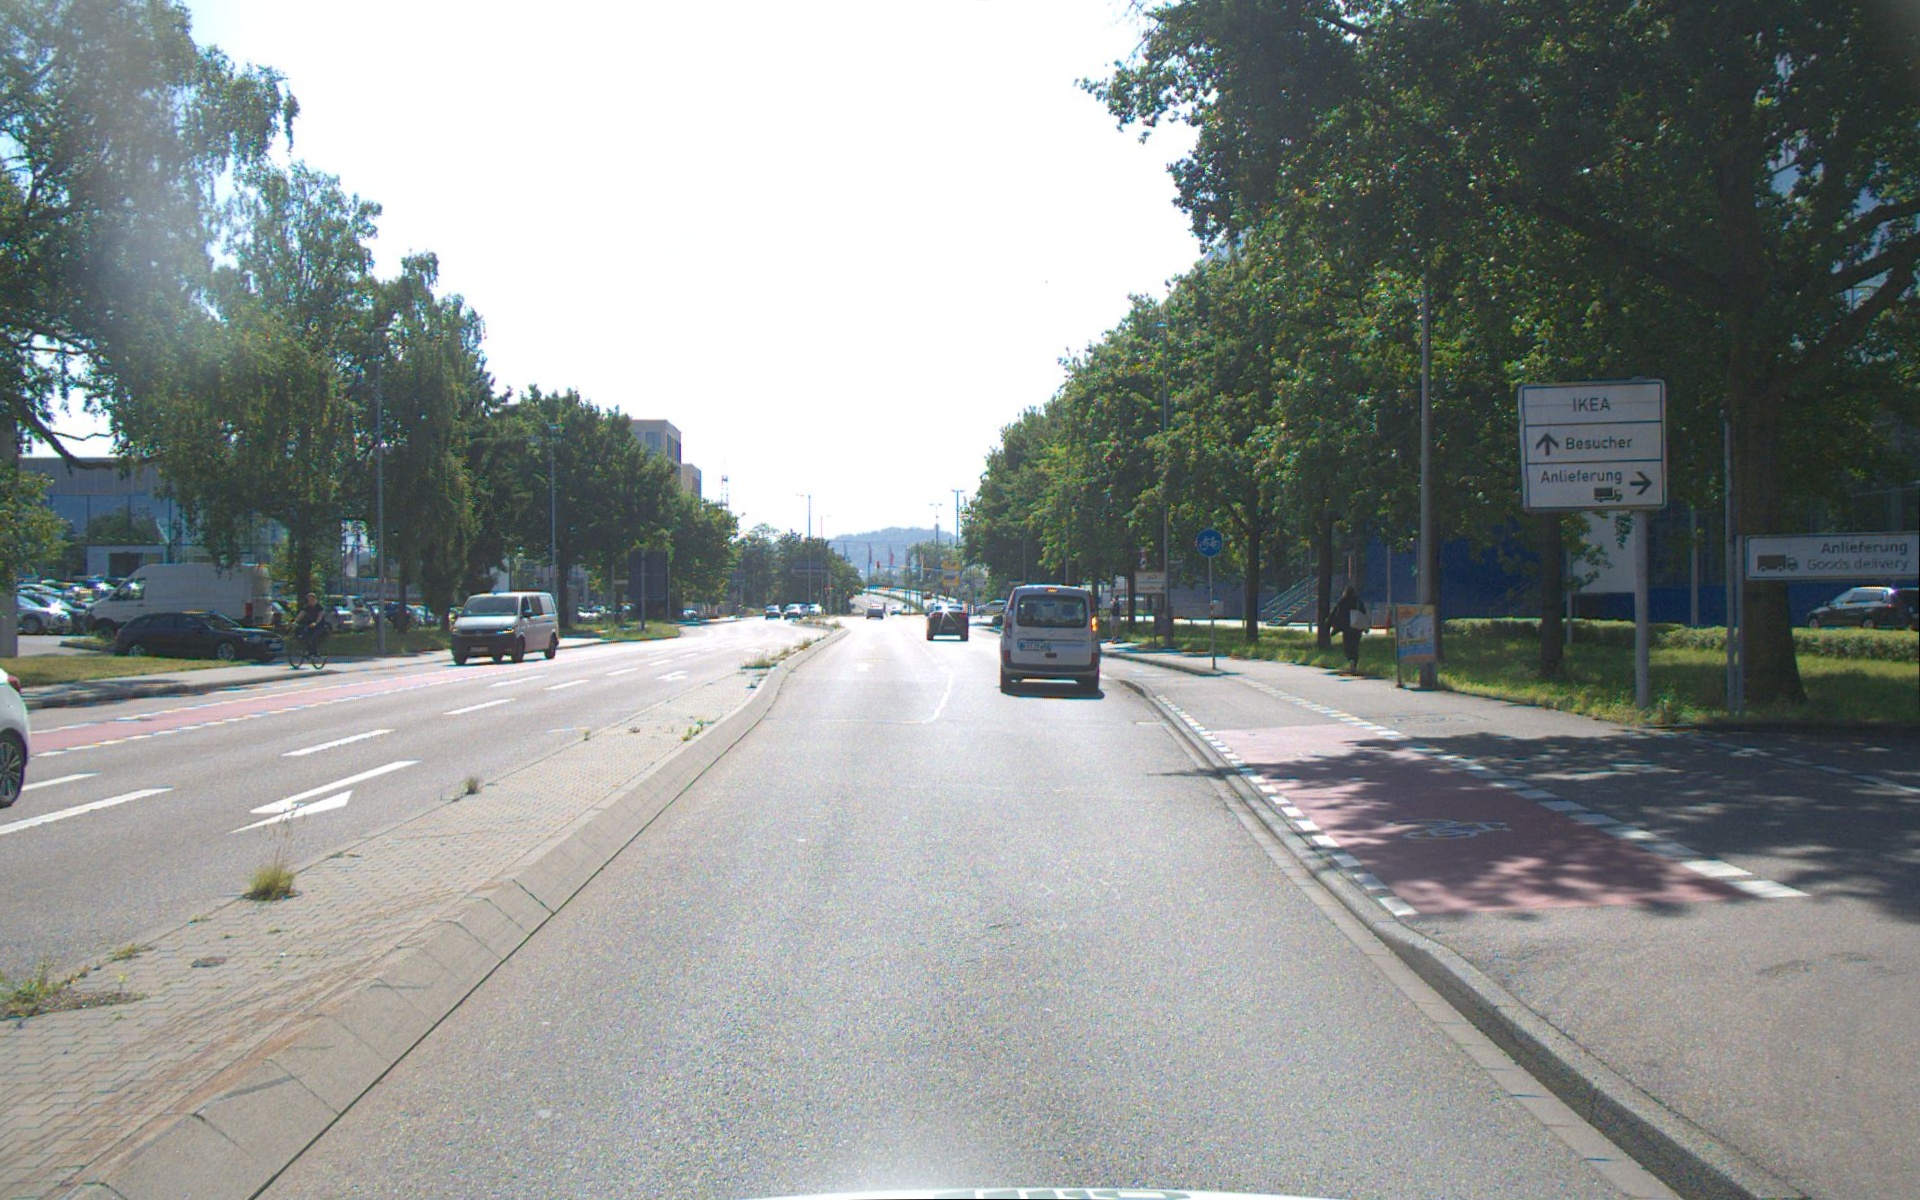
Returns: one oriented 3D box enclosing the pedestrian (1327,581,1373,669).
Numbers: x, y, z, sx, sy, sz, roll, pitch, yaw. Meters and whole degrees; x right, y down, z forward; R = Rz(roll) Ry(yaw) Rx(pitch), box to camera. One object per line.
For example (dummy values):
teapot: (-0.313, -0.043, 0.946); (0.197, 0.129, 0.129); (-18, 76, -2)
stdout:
pedestrian: (7.380, 0.466, 31.318); (0.634, 1.631, 0.846); (0, -1, -1)

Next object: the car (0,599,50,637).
car: (-36.170, 0.674, 61.225); (4.001, 1.378, 1.744); (-1, 0, 3)

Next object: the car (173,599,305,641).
car: (-26.004, 0.724, 59.699); (4.001, 1.464, 1.744); (0, 0, 3)

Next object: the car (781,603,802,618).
car: (-17.761, 1.108, 174.379); (1.804, 1.489, 4.997); (-3, 0, -2)

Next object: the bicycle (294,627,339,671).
bicycle: (-16.127, 1.215, 41.461); (0.436, 1.045, 1.616); (-1, 0, 2)

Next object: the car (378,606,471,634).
car: (-27.771, 1.025, 85.920); (4.179, 1.374, 1.954); (0, 0, 0)

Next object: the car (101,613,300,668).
car: (-20.855, 1.103, 45.526); (4.567, 1.438, 2.001); (-1, 0, 5)

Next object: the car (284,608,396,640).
car: (-27.203, 1.062, 72.703); (4.179, 1.351, 1.954); (0, 0, 0)

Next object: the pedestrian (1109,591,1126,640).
pedestrian: (6.082, 0.591, 63.832); (0.524, 1.874, 0.727); (0, -1, -2)

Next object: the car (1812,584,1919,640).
car: (26.728, 0.348, 47.817); (1.867, 1.547, 4.373); (0, 0, -1)

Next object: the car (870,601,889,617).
car: (-8.757, 0.955, 179.291); (1.953, 1.713, 3.998); (0, 0, -2)

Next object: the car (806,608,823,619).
car: (-19.356, 1.771, 220.570); (1.778, 1.490, 4.001); (-1, 0, 2)

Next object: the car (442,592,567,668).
car: (-13.092, 0.818, 47.895); (1.952, 2.049, 5.348); (-1, 0, 2)

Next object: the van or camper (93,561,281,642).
van or camper: (-25.835, 0.034, 55.441); (5.273, 2.513, 1.998); (2, 1, -5)

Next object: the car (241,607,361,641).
car: (-25.789, 0.925, 64.788); (4.003, 1.316, 1.743); (0, 0, 0)

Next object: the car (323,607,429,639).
car: (-26.663, 1.040, 75.607); (4.179, 1.405, 1.954); (0, 0, 0)

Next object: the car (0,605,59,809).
car: (-7.984, 0.857, 11.359); (1.610, 1.520, 3.827); (-2, 1, -3)

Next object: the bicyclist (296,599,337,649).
bicyclist: (-16.108, 0.592, 41.418); (0.620, 1.249, 0.950); (-1, 0, 2)

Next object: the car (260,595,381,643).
car: (-25.995, 0.765, 67.309); (4.179, 1.917, 1.954); (0, 0, 0)

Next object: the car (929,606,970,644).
car: (-0.472, 1.133, 75.836); (1.770, 1.668, 4.459); (-1, 0, 1)

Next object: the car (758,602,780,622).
car: (-20.892, 1.320, 180.864); (1.953, 2.048, 4.000); (2, 1, -1)

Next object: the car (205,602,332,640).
car: (-25.854, 0.794, 61.925); (4.001, 1.378, 1.744); (0, -1, 3)

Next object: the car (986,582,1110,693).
car: (1.514, 0.643, 29.890); (1.867, 1.861, 4.178); (0, 0, -2)

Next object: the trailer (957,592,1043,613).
trailer: (5.405, 0.330, 225.583); (11.632, 2.512, 1.999); (2, 1, -2)

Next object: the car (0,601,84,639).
car: (-36.507, 0.768, 64.218); (4.004, 1.464, 1.743); (0, 0, -2)
